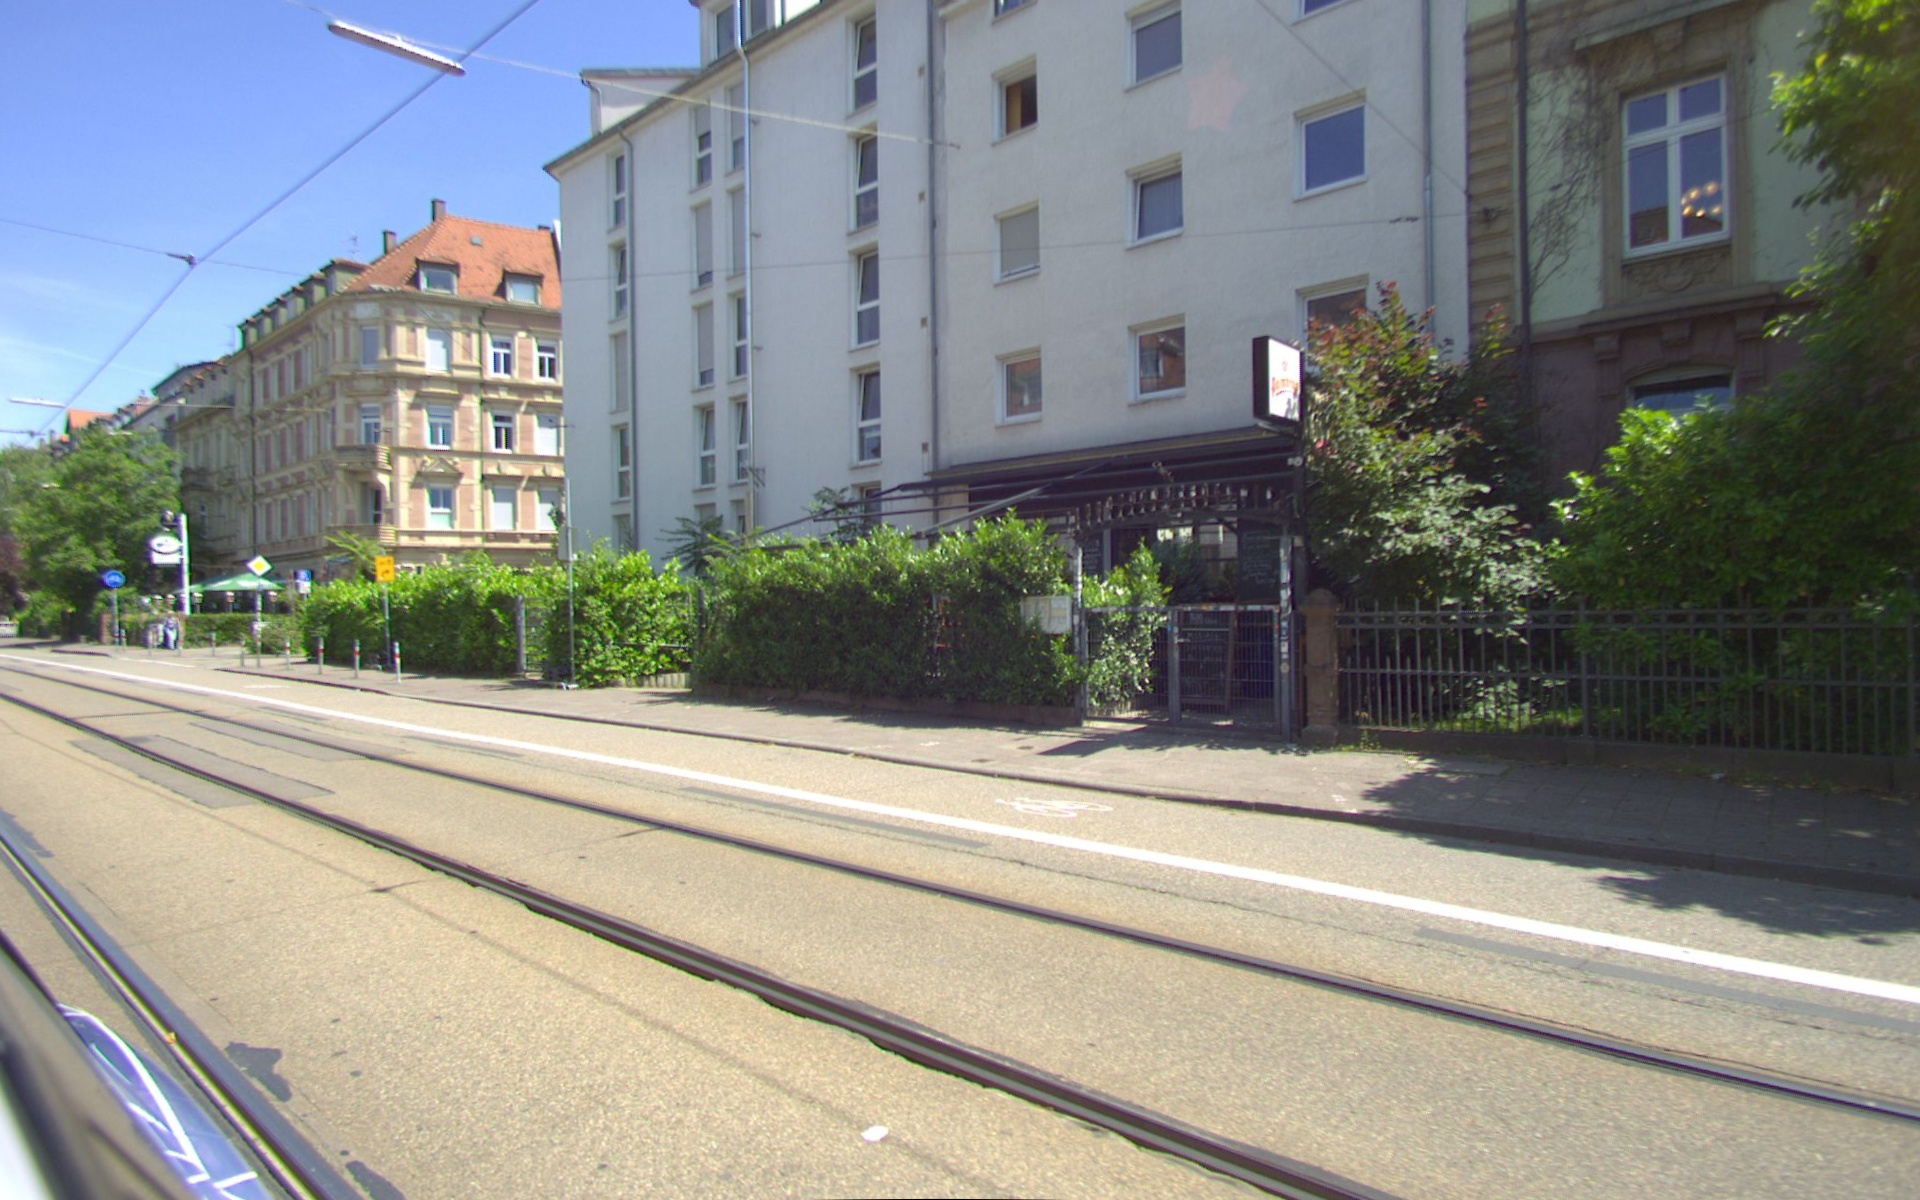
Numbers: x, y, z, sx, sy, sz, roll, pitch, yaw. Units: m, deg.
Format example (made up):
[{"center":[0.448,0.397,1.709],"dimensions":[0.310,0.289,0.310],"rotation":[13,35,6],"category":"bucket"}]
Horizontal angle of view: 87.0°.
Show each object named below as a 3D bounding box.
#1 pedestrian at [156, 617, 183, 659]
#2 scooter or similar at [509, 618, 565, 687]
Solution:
[{"center":[-31.621,1.494,40.493],"dimensions":[0.939,1.654,0.732],"rotation":[-2,-2,43],"category":"pedestrian"},{"center":[-9.411,1.149,22.542],"dimensions":[0.597,1.462,0.998],"rotation":[-1,0,41],"category":"scooter or similar"}]
